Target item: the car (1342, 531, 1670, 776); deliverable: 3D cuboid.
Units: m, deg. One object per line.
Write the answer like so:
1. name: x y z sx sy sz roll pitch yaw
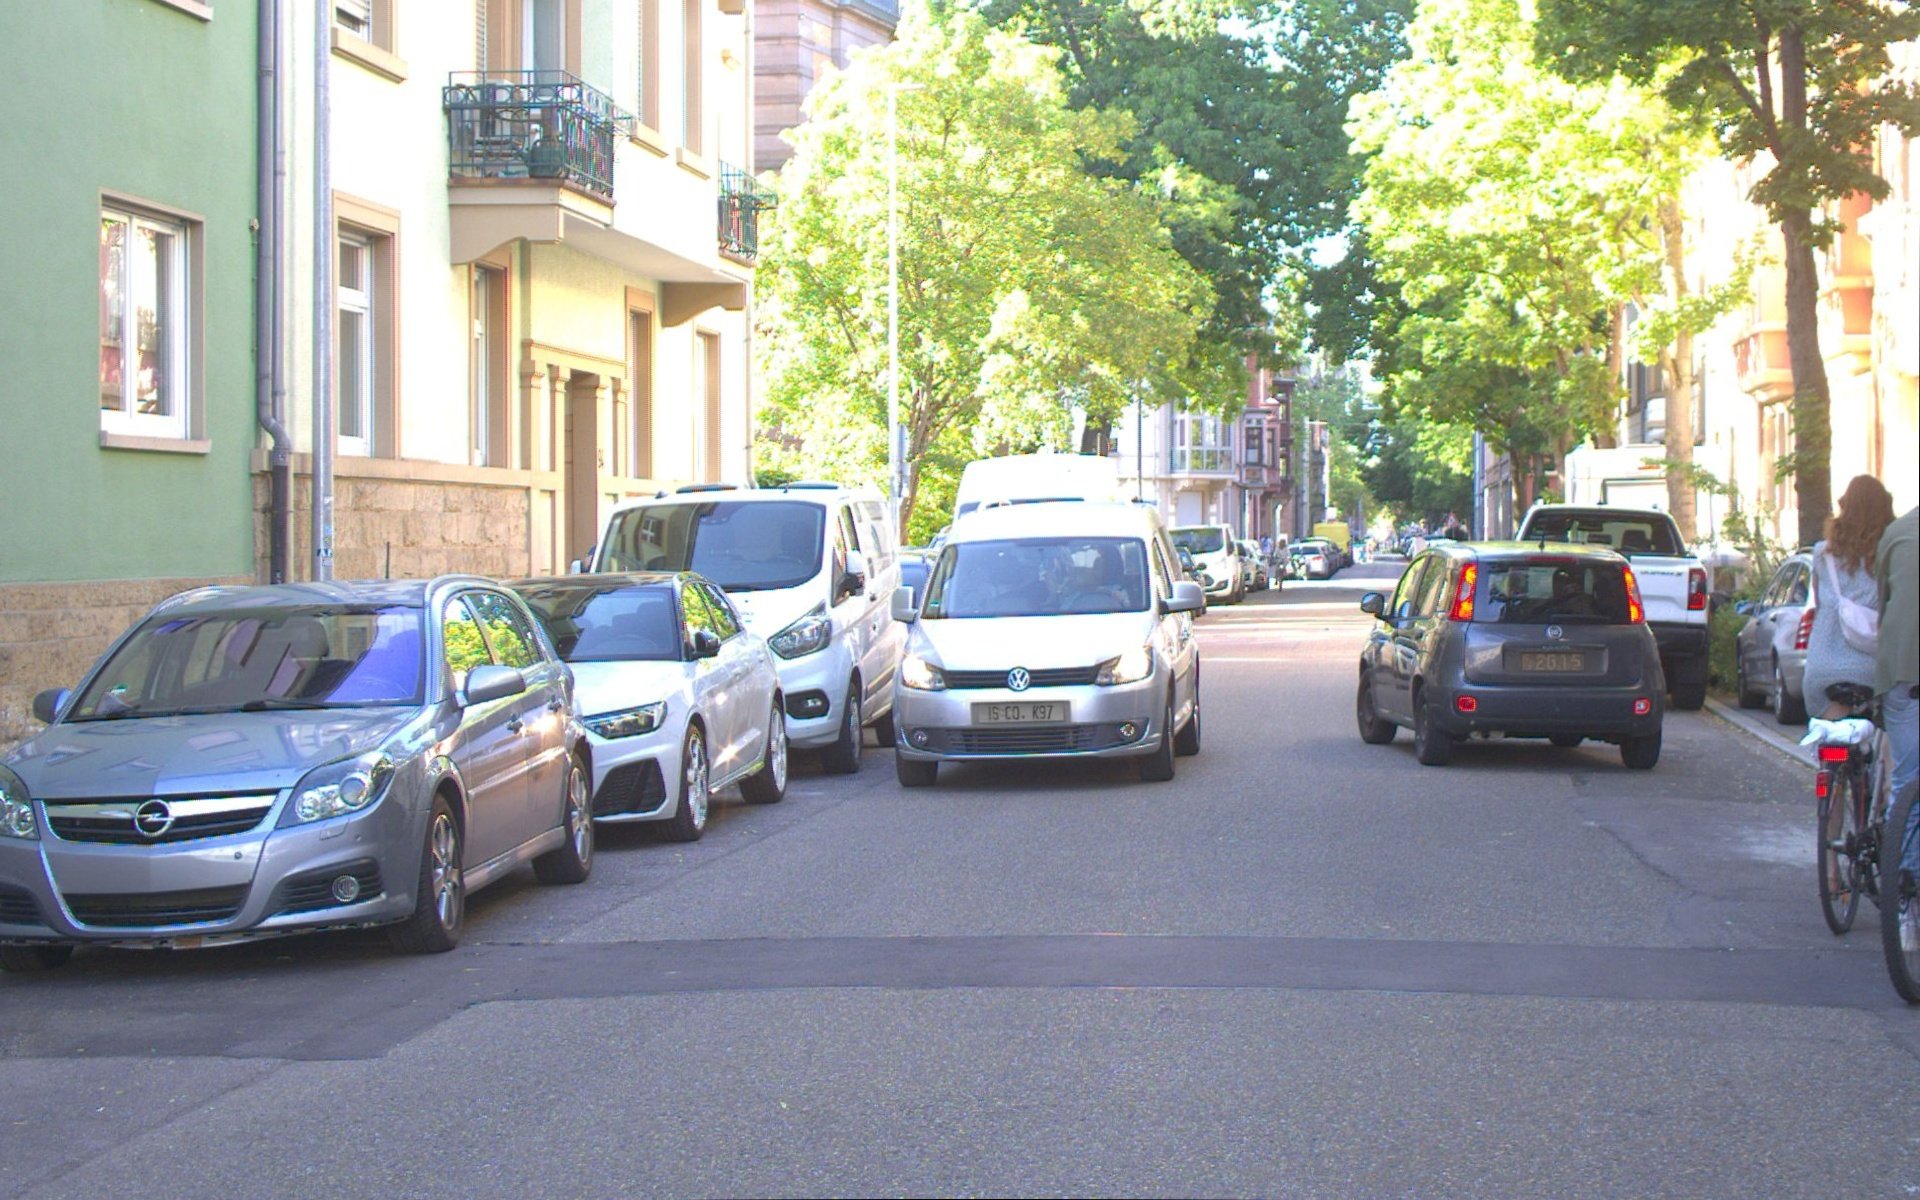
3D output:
1. car: 3.751 0.316 24.141 1.556 1.527 3.487 3 1 -2

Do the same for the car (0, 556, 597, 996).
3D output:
1. car: -2.873 0.611 14.161 1.979 1.450 4.113 -3 1 4

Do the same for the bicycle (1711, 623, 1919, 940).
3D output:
1. bicycle: 3.596 0.703 13.624 0.840 1.145 2.230 0 -2 22

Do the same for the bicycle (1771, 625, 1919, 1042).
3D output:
1. bicycle: 3.385 0.746 11.592 0.840 1.145 2.230 6 4 22

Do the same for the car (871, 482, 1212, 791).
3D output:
1. car: 0.642 0.195 23.078 1.782 1.854 4.198 -1 1 8

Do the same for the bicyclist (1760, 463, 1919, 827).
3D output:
1. bicyclist: 3.528 0.196 13.471 0.624 1.376 0.867 -1 -4 22

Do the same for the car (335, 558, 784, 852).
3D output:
1. car: -2.118 0.513 19.188 1.687 1.448 3.710 -1 1 6

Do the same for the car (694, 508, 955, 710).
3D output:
1. car: -1.143 0.024 30.755 1.711 1.678 3.999 0 1 7

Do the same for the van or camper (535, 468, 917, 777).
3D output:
1. van or camper: -1.567 0.103 24.958 1.994 2.007 4.911 -1 1 5

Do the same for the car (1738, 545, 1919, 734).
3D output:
1. car: 7.476 0.292 28.813 1.557 1.404 3.379 3 2 9

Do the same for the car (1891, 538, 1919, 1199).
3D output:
1. car: 2.279 0.717 4.322 1.675 1.540 3.402 2 1 8

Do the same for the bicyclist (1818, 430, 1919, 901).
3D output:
1. bicyclist: 3.450 0.227 11.706 0.883 1.556 0.867 -1 -2 24
